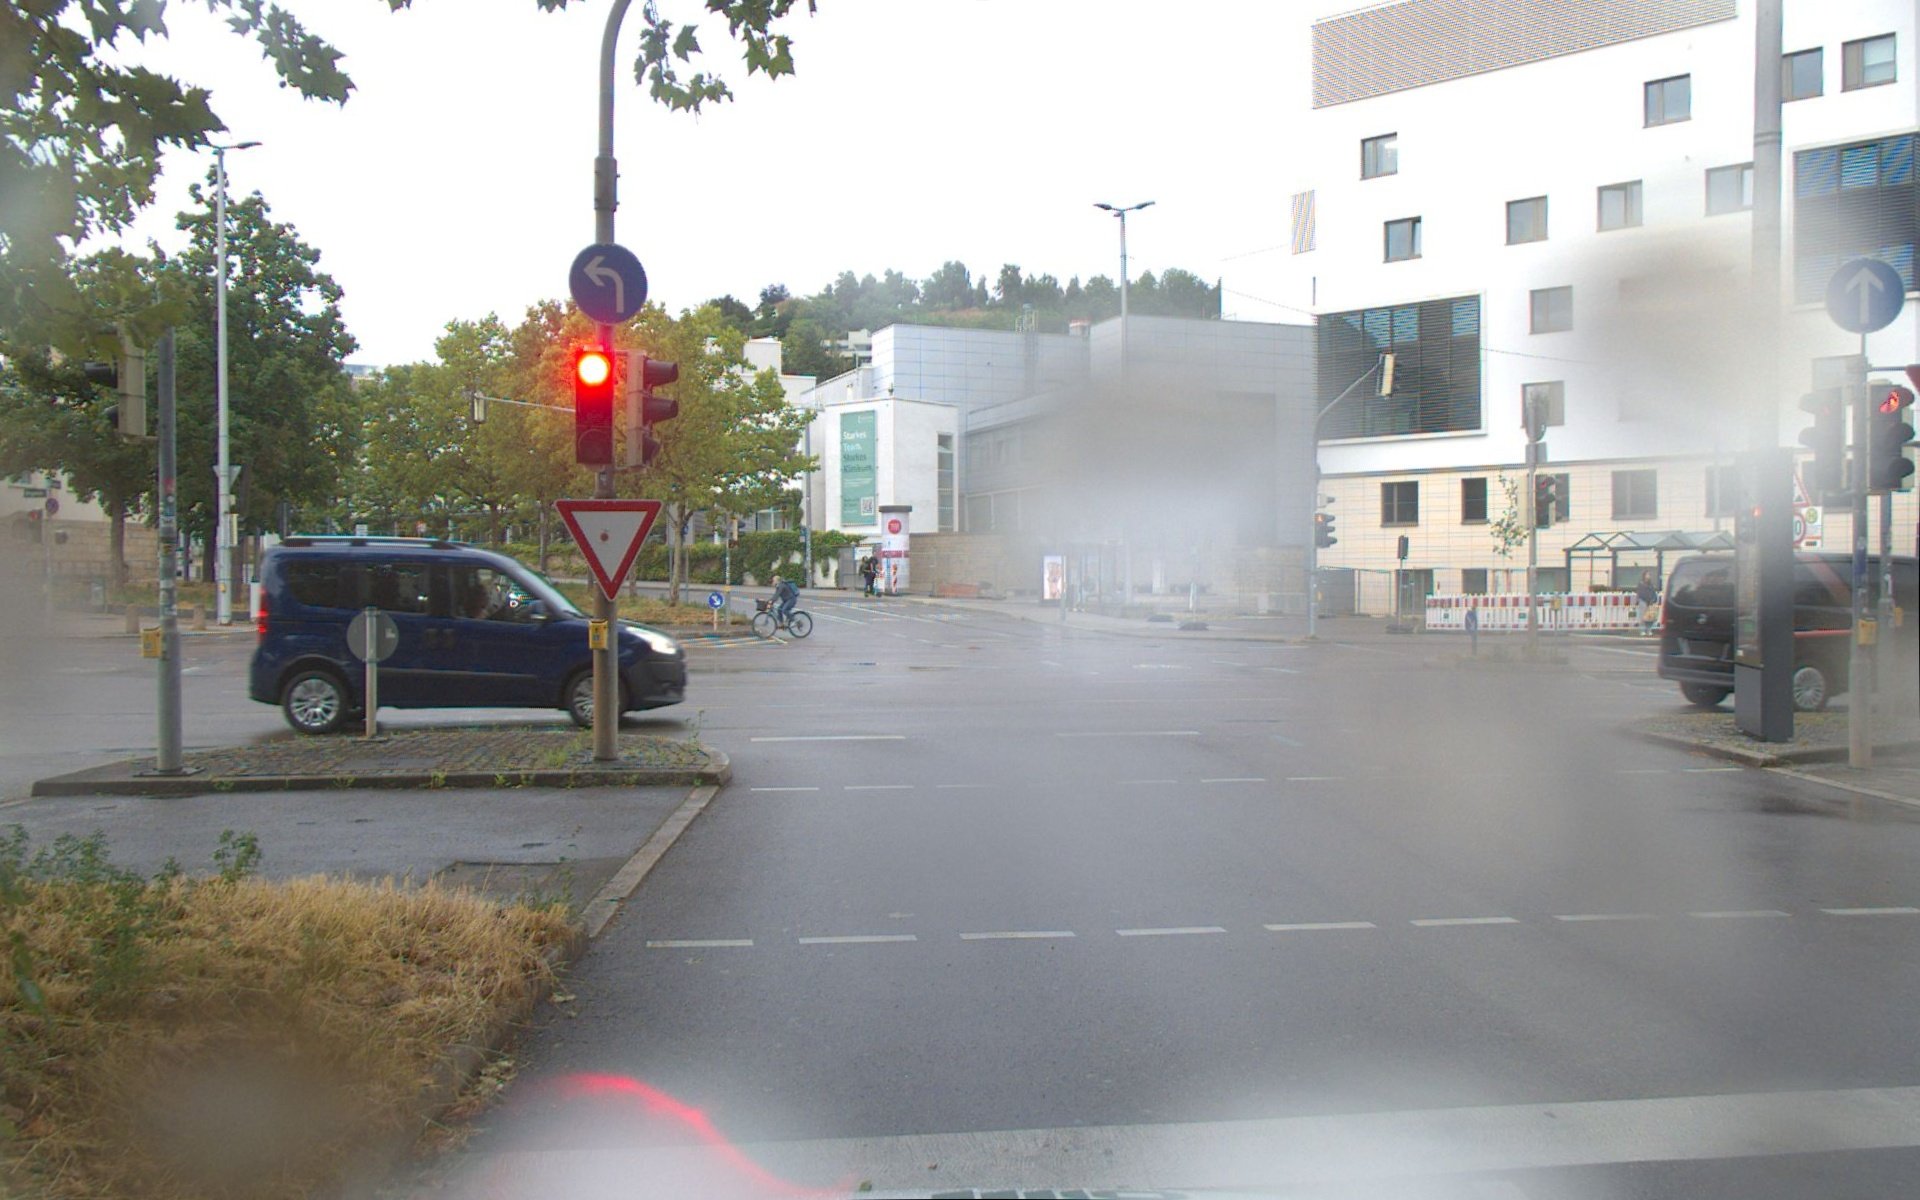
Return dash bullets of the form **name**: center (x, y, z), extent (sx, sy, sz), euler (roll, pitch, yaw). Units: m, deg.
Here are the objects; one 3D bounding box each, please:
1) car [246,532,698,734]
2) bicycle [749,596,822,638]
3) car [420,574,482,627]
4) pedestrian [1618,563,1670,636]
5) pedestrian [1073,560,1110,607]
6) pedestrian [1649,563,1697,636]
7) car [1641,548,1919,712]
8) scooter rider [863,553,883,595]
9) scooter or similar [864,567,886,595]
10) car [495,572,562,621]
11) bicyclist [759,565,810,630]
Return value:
- **car**: center (-4.877, 0.299, 17.068), extent (4.213, 1.941, 1.795), euler (0, 1, -7)
- **bicycle**: center (-4.565, 0.440, 43.341), extent (1.797, 1.075, 0.641), euler (1, 0, -32)
- **car**: center (-16.678, -0.027, 54.189), extent (1.839, 1.591, 4.255), euler (-1, 2, -18)
- **pedestrian**: center (17.939, -0.014, 43.371), extent (0.934, 1.872, 0.821), euler (1, -1, -12)
- **pedestrian**: center (4.956, -0.609, 62.500), extent (1.232, 1.749, 1.016), euler (1, -1, -2)
- **pedestrian**: center (19.540, -0.005, 45.329), extent (0.980, 1.969, 0.955), euler (1, -1, 9)
- **car**: center (11.016, 0.302, 20.312), extent (4.692, 1.840, 1.992), euler (-1, 1, -15)
- **scooter rider**: center (-4.011, -1.189, 76.070), extent (0.713, 1.916, 0.628), euler (2, -1, -21)
- **scooter or similar**: center (-3.914, -0.853, 76.082), extent (0.582, 1.260, 1.305), euler (2, -1, -22)
- **car**: center (-15.199, -0.156, 58.159), extent (1.764, 1.612, 3.973), euler (0, 1, -22)
- **bicyclist**: center (-4.593, -0.063, 43.320), extent (1.113, 1.661, 0.695), euler (2, -1, -32)
